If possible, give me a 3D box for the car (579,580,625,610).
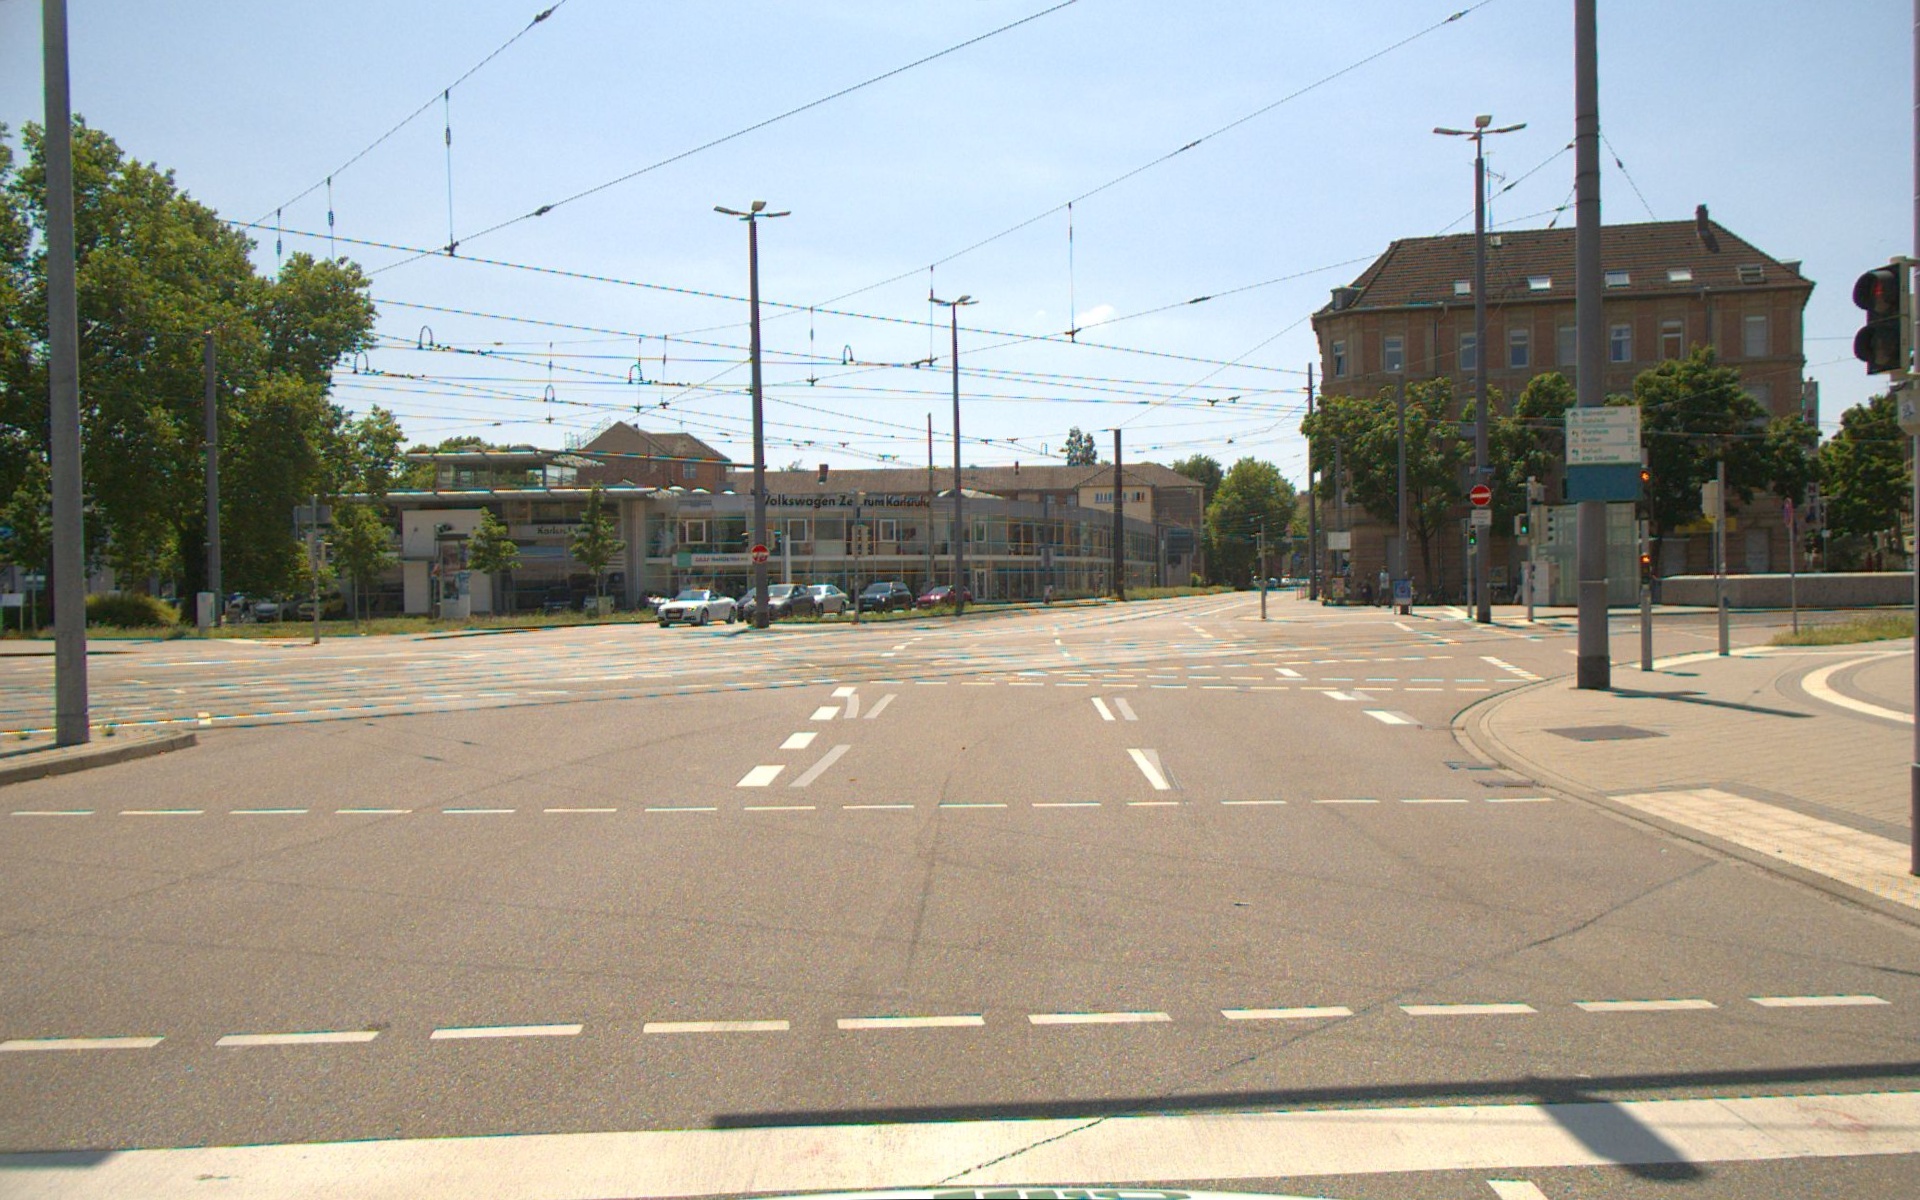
[{"bbox_3d":[-21.532,-0.285,99.738,1.881,1.737,4.000,1,0,0],"label":"car"}]

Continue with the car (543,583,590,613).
[{"bbox_3d":[-23.690,-0.121,99.696,1.881,1.737,4.000,1,0,0],"label":"car"}]

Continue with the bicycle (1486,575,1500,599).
[{"bbox_3d":[25.483,-0.624,79.105,0.539,1.139,1.872,-1,0,15],"label":"bicycle"}]

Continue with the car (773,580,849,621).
[{"bbox_3d":[-6.815,-0.013,76.186,1.951,1.770,4.546,-1,1,16],"label":"car"}]

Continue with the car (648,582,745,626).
[{"bbox_3d":[-10.156,0.125,64.052,2.032,1.607,4.850,-1,1,13],"label":"car"}]

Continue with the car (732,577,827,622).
[{"bbox_3d":[-6.976,-0.060,64.412,1.951,1.666,4.850,-1,1,16],"label":"car"}]

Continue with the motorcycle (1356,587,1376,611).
[{"bbox_3d":[19.450,-0.047,79.337,0.568,1.093,1.947,-1,0,3],"label":"motorcycle"}]

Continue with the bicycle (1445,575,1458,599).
[{"bbox_3d":[23.451,-0.629,78.886,0.539,1.139,1.822,-1,1,15],"label":"bicycle"}]

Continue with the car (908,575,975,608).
[{"bbox_3d":[-1.063,-0.486,96.804,1.960,1.807,3.985,1,-1,35],"label":"car"}]

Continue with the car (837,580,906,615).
[{"bbox_3d":[-4.490,-0.146,84.798,2.034,1.712,4.850,-1,1,16],"label":"car"}]

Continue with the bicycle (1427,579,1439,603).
[{"bbox_3d":[22.662,-0.444,79.228,0.539,1.139,1.821,-1,0,17],"label":"bicycle"}]

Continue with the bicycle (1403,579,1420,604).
[{"bbox_3d":[21.775,-0.383,79.800,0.433,1.166,2.095,1,0,6],"label":"bicycle"}]

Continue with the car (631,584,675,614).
[{"bbox_3d":[-18.553,-0.032,99.973,1.881,1.737,4.000,1,0,0],"label":"car"}]

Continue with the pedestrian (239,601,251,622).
[{"bbox_3d":[-42.102,0.672,97.357,0.502,1.225,0.446,-1,0,5],"label":"pedestrian"}]

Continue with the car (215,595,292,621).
[{"bbox_3d":[-45.523,0.511,106.564,4.279,1.536,1.750,-1,1,-36],"label":"car"}]

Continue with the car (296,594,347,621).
[{"bbox_3d":[-38.779,0.420,100.545,1.732,1.536,4.322,-1,1,-5],"label":"car"}]

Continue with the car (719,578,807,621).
[{"bbox_3d":[-8.319,-0.049,70.219,1.951,1.730,4.850,-1,1,16],"label":"car"}]

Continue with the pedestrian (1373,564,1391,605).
[{"bbox_3d":[17.917,-0.666,70.209,0.453,1.738,0.637,-1,0,-16],"label":"pedestrian"}]

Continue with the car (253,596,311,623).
[{"bbox_3d":[-41.387,0.542,101.031,1.731,1.536,4.327,-1,1,0],"label":"car"}]
